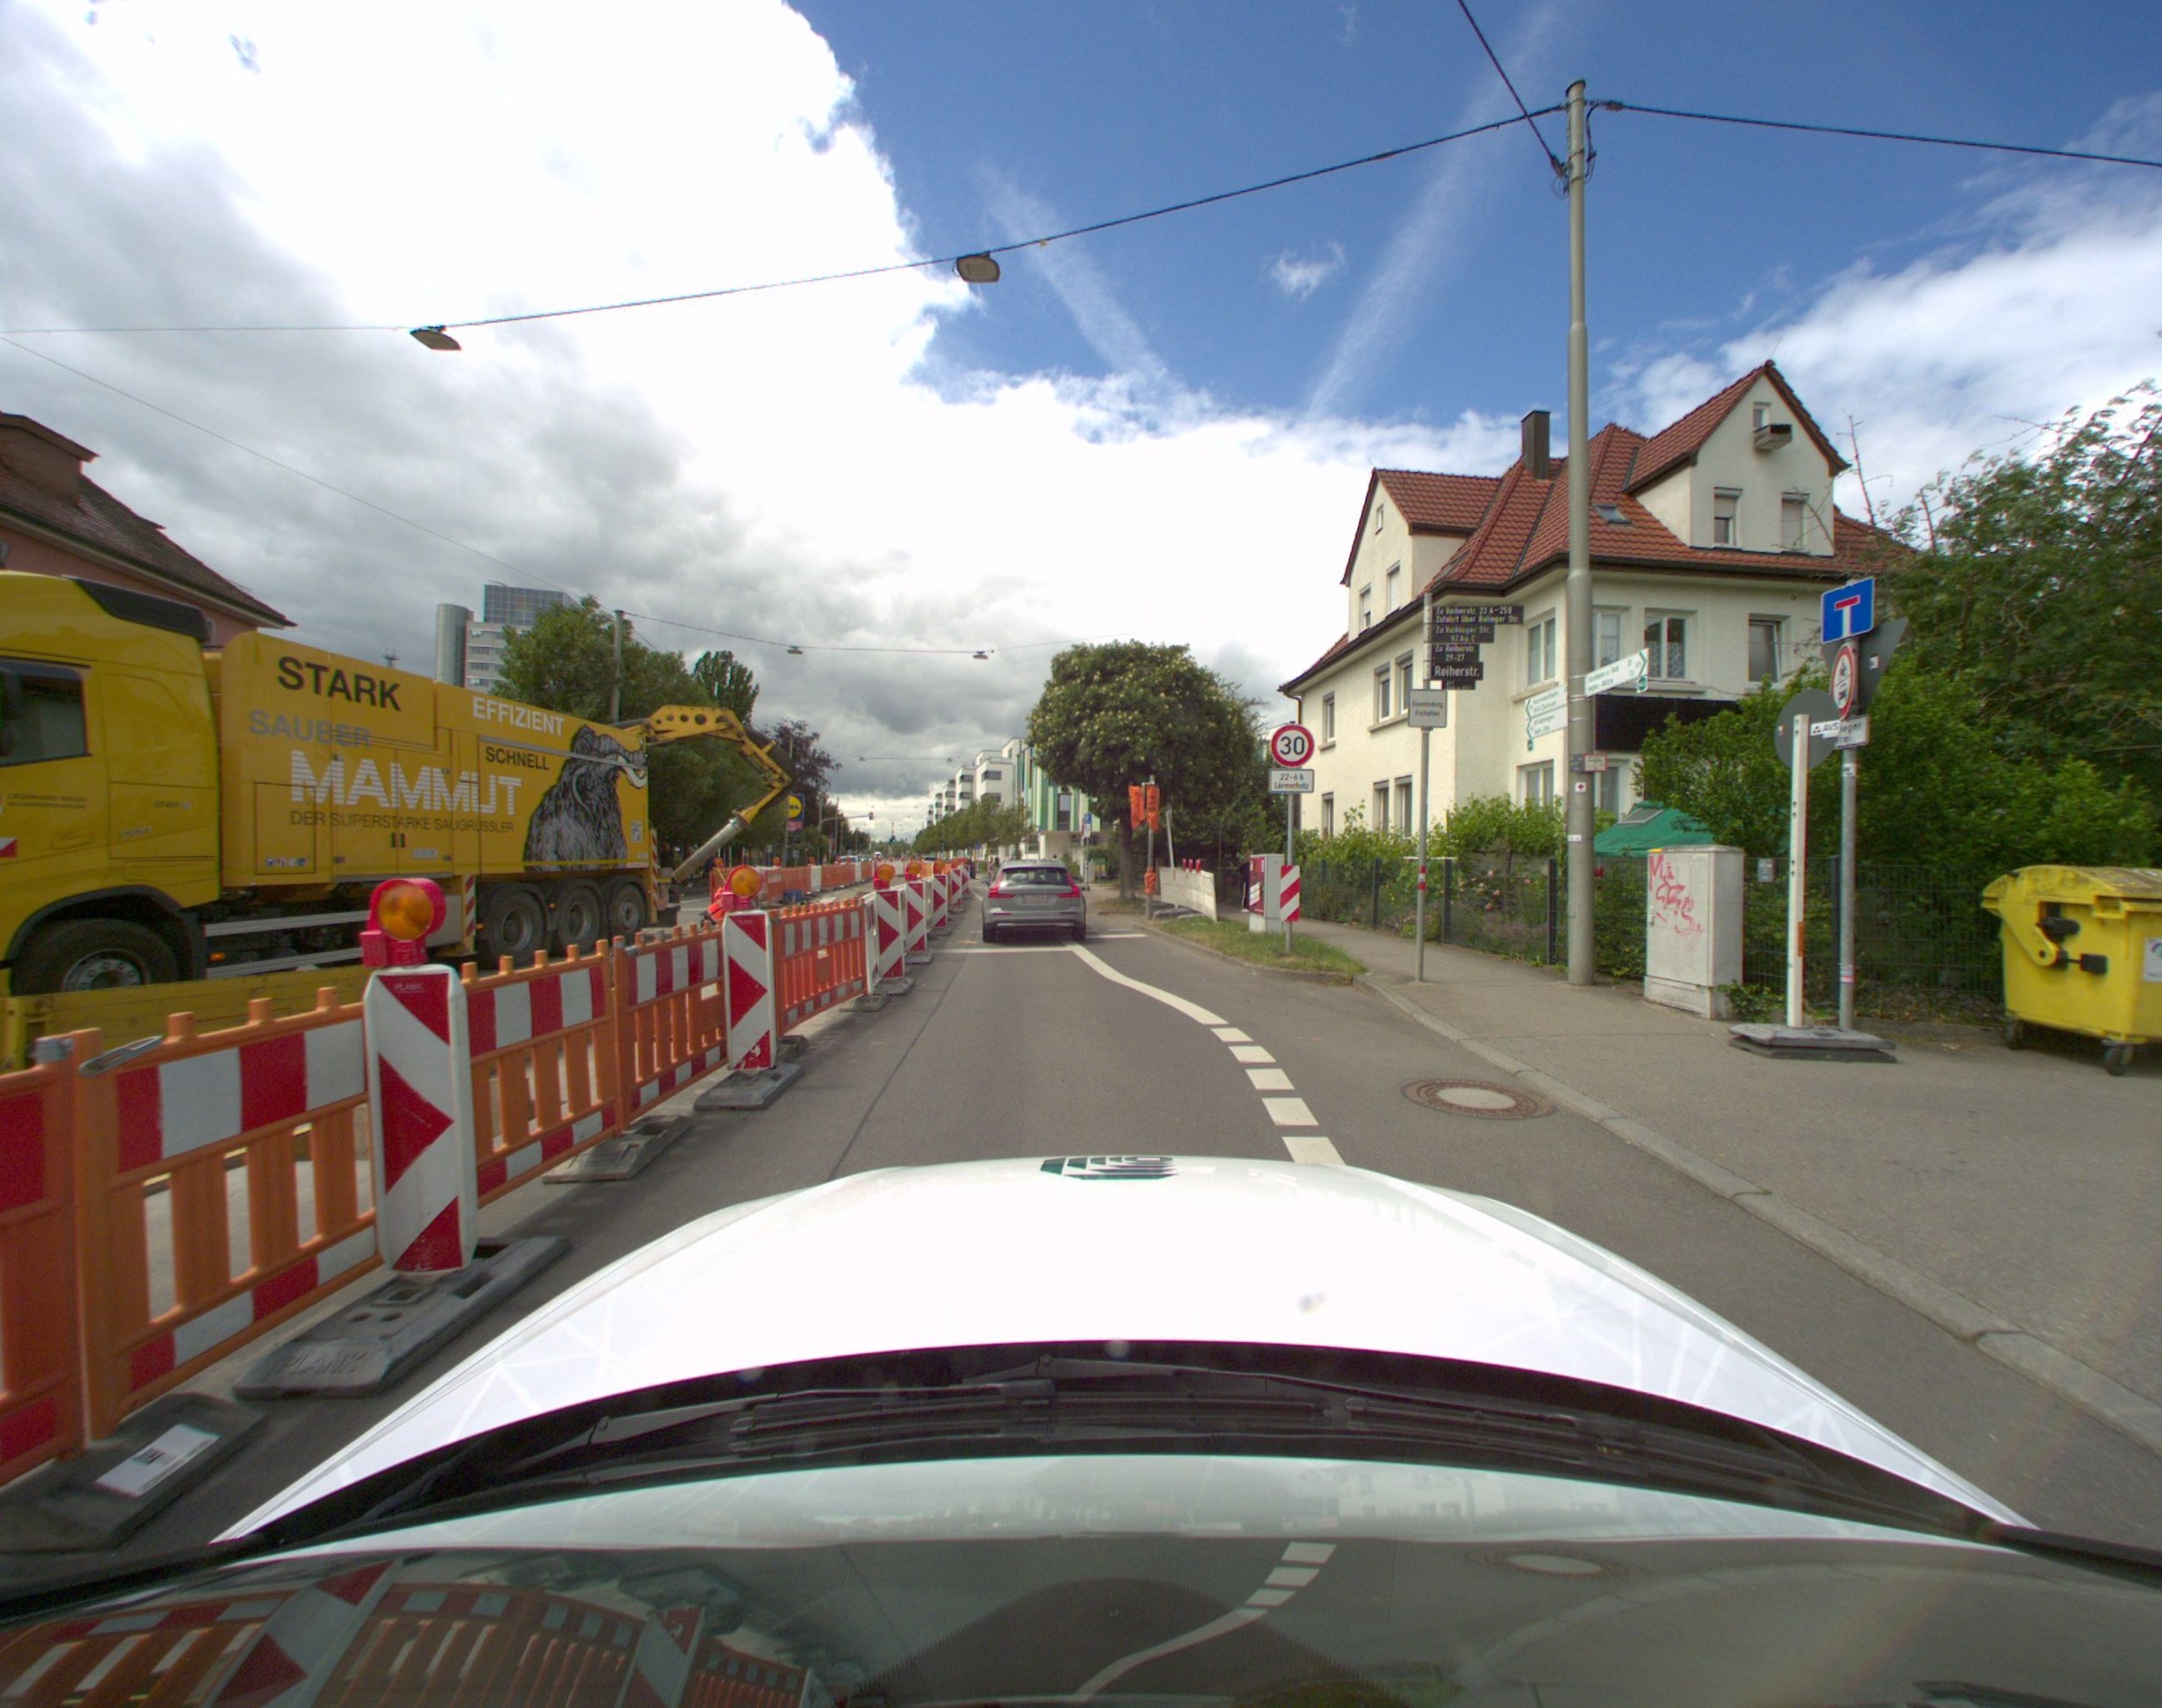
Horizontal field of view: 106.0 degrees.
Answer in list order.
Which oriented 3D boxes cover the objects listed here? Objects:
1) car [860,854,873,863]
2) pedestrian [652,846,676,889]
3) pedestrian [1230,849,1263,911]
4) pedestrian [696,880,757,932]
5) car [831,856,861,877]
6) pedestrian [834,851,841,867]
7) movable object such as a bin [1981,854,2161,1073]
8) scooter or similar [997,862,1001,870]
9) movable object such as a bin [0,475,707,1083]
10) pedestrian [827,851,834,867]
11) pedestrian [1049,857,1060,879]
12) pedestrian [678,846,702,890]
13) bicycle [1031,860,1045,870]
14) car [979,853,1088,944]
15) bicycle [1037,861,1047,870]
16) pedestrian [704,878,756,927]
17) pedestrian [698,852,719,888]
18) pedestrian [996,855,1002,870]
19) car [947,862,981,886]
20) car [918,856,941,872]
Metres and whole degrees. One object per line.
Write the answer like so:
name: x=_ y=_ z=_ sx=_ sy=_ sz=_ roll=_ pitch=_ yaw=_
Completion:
car: x=-36.247 y=0.695 z=137.556 sx=1.854 sy=1.513 sz=3.986 roll=0 pitch=0 yaw=-10
pedestrian: x=-17.916 y=0.583 z=34.981 sx=0.620 sy=1.847 sz=0.625 roll=0 pitch=-1 yaw=14
pedestrian: x=4.167 y=0.645 z=20.572 sx=0.637 sy=1.540 sz=0.517 roll=0 pitch=0 yaw=-27
pedestrian: x=-7.137 y=1.040 z=16.441 sx=0.785 sy=0.991 sz=0.815 roll=0 pitch=0 yaw=14
car: x=-17.349 y=0.883 z=60.278 sx=1.856 sy=1.453 sz=3.983 roll=2 pitch=-1 yaw=-12
pedestrian: x=-28.206 y=0.623 z=94.255 sx=0.682 sy=1.854 sz=0.888 roll=1 pitch=-1 yaw=-14
movable object such as a bin: x=7.755 y=0.756 z=5.927 sx=1.260 sy=1.470 sz=1.007 roll=1 pitch=0 yaw=11
scooter or similar: x=-9.142 y=1.334 z=90.877 sx=0.422 sy=0.905 sz=0.678 roll=1 pitch=-1 yaw=-14
movable object such as a bin: x=-8.753 y=-0.511 z=10.561 sx=2.582 sy=4.221 sz=11.120 roll=0 pitch=0 yaw=0
pedestrian: x=-28.925 y=0.561 z=94.071 sx=0.682 sy=1.854 sz=0.703 roll=1 pitch=-1 yaw=-14
pedestrian: x=-1.850 y=0.958 z=57.144 sx=0.582 sy=1.551 sz=0.864 roll=0 pitch=-1 yaw=-14
pedestrian: x=-16.717 y=0.602 z=34.820 sx=0.690 sy=1.847 sz=0.625 roll=0 pitch=-1 yaw=14
bicycle: x=-4.269 y=1.085 z=81.011 sx=1.472 sy=1.046 sz=0.304 roll=0 pitch=0 yaw=-27
car: x=-1.030 y=0.748 z=15.737 sx=1.853 sy=1.513 sz=3.990 roll=0 pitch=0 yaw=-7
bicycle: x=-3.827 y=1.106 z=80.016 sx=0.303 sy=0.842 sz=1.031 roll=0 pitch=0 yaw=43
pedestrian: x=-7.510 y=1.031 z=17.424 sx=0.635 sy=0.991 sz=0.798 roll=0 pitch=0 yaw=24
pedestrian: x=-16.771 y=0.705 z=36.678 sx=0.754 sy=1.603 sz=0.825 roll=1 pitch=-1 yaw=-17
pedestrian: x=-9.189 y=0.955 z=91.455 sx=0.606 sy=1.655 sz=0.549 roll=1 pitch=-1 yaw=-15
car: x=-8.131 y=1.367 z=56.223 sx=1.857 sy=1.513 sz=3.980 roll=2 pitch=-1 yaw=-15
car: x=-15.046 y=0.970 z=80.804 sx=1.848 sy=1.513 sz=3.980 roll=2 pitch=-1 yaw=-15
